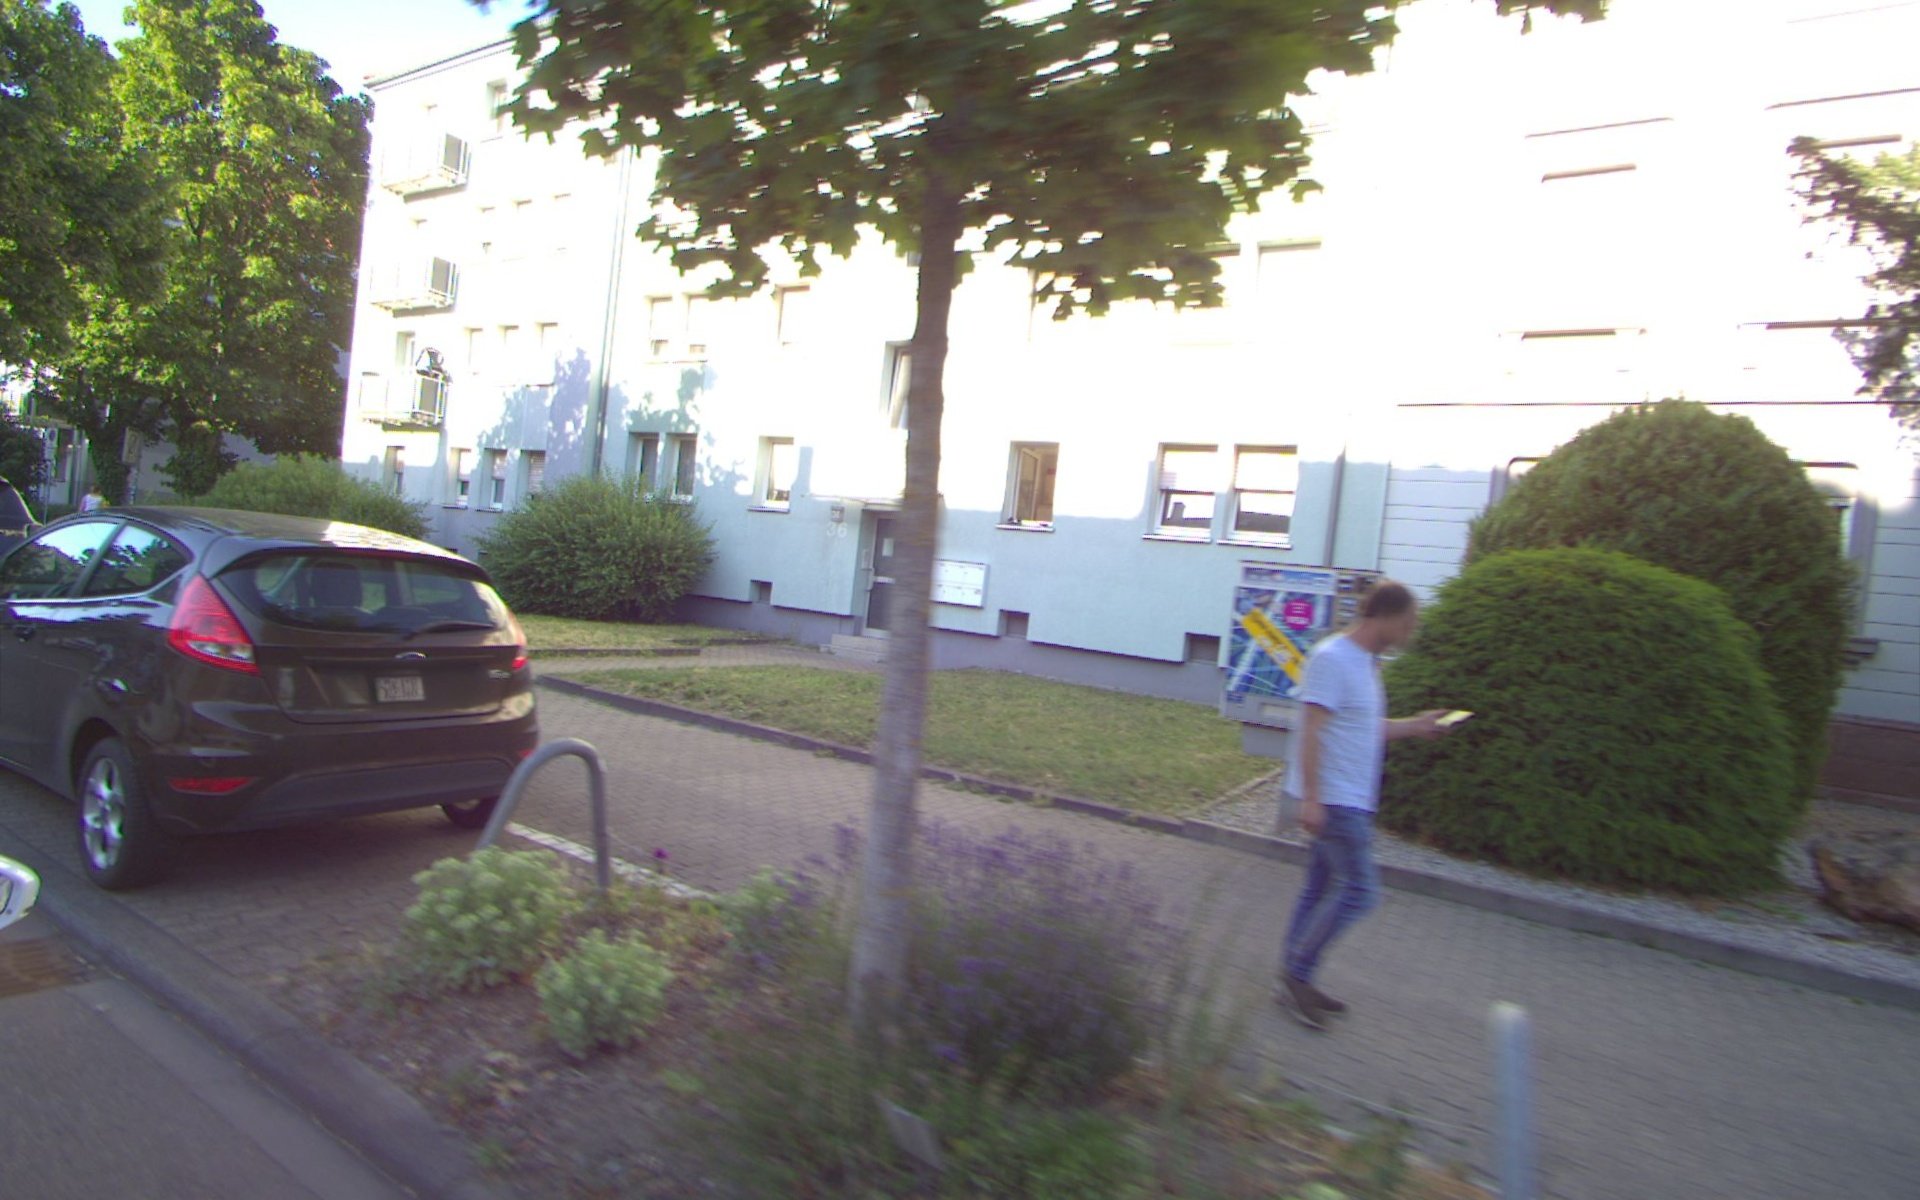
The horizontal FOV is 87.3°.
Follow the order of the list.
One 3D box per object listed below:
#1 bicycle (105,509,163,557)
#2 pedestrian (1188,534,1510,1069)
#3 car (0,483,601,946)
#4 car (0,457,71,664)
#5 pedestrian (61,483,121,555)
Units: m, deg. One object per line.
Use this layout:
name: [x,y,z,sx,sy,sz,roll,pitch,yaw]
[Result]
bicycle: [-19.019,-1.541,23.148,1.652,0.957,0.475,7,2,32]
pedestrian: [1.495,0.675,3.835,0.795,1.721,0.788,7,0,36]
car: [-3.820,0.273,5.091,3.893,1.485,1.614,7,2,32]
car: [-9.777,-0.541,8.935,4.184,1.684,1.754,7,2,34]
pedestrian: [-22.426,-2.074,25.972,0.787,1.744,0.742,6,2,-9]
